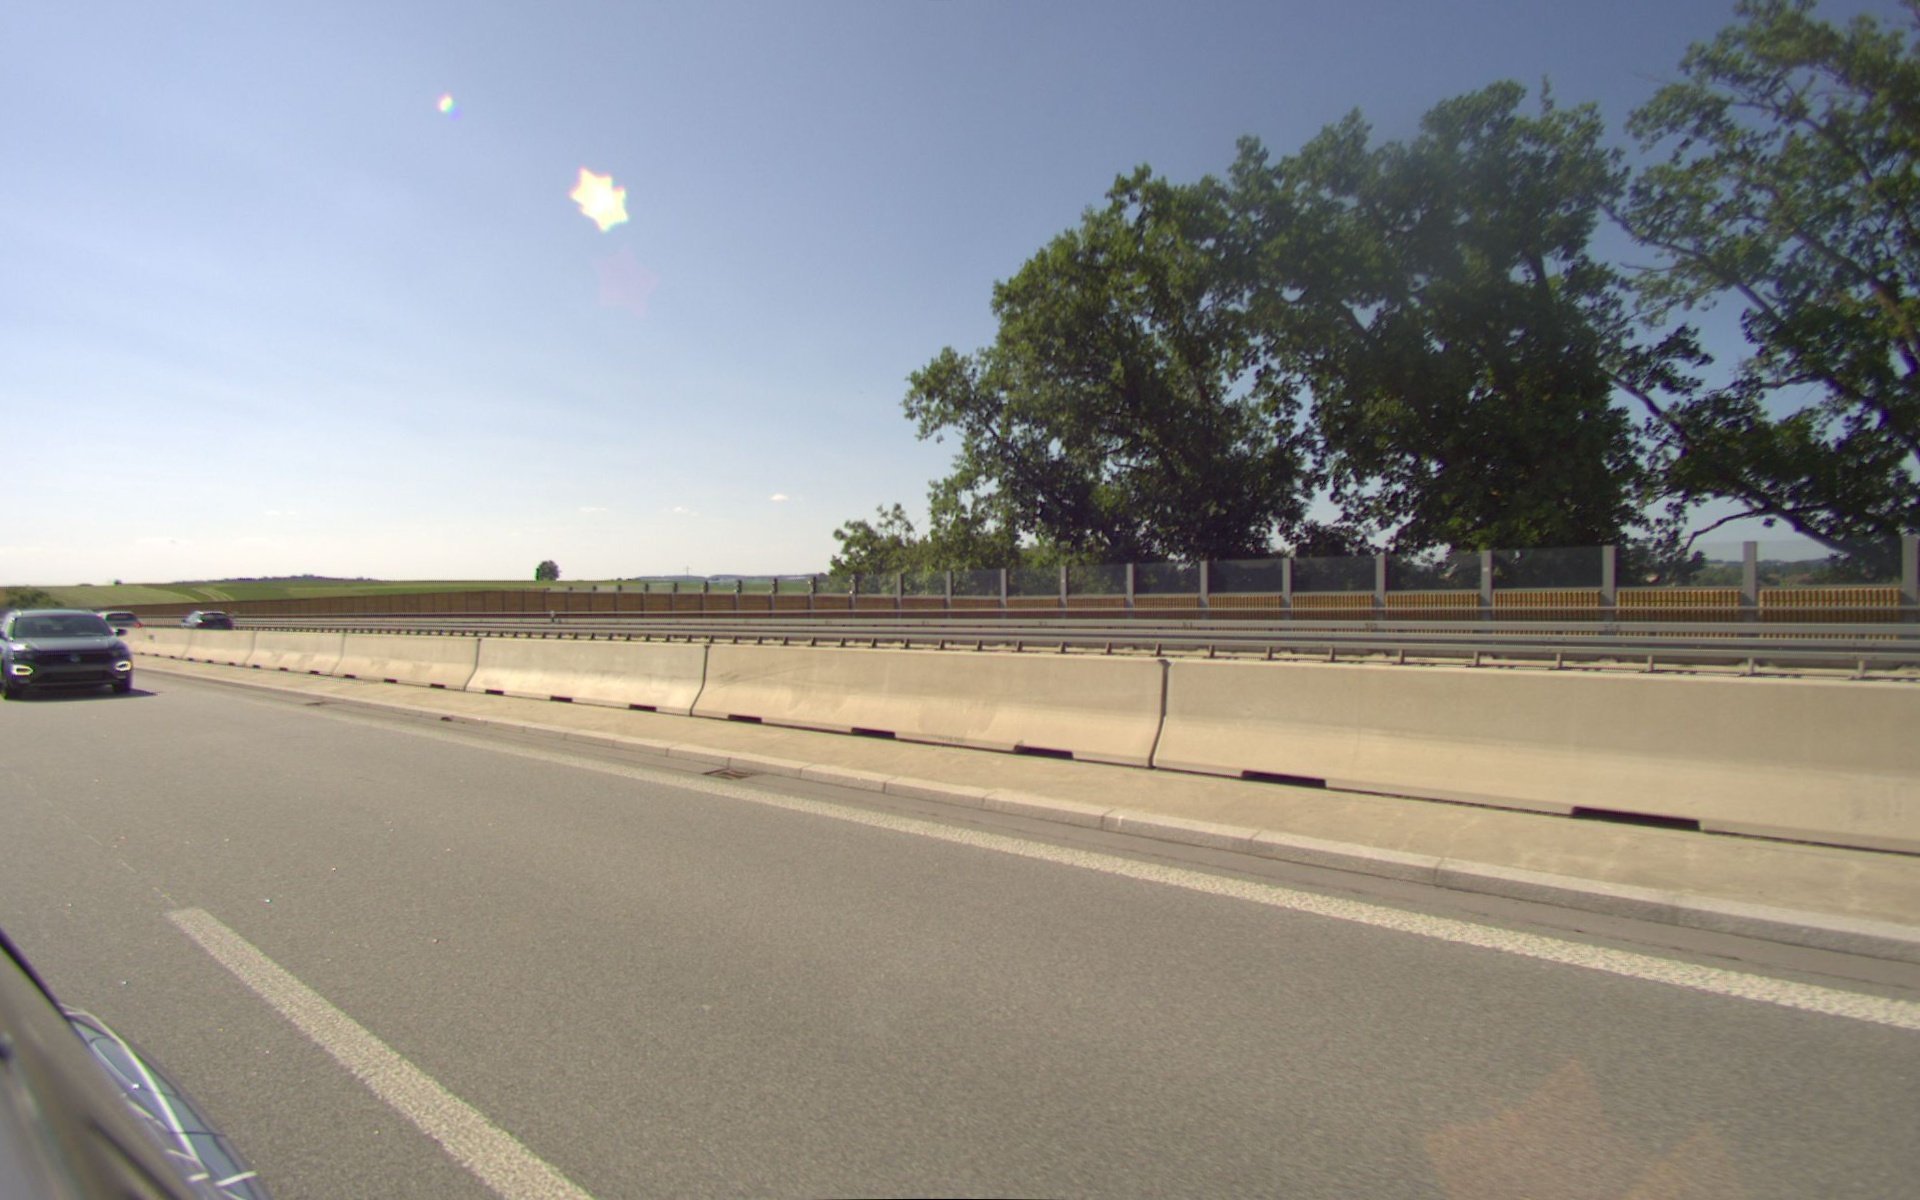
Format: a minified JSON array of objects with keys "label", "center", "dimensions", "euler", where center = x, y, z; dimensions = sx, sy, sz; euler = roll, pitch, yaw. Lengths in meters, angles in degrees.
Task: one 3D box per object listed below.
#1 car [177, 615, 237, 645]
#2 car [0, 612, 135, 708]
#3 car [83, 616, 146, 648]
[{"label":"car","center":[-39.031,1.545,52.417],"dimensions":[4.447,1.469,1.563],"euler":[-1,-1,41]},{"label":"car","center":[-17.226,1.037,19.137],"dimensions":[4.986,1.581,1.753],"euler":[-1,-1,42]},{"label":"car","center":[-42.473,1.559,50.795],"dimensions":[4.622,1.514,1.709],"euler":[-1,-1,41]}]
